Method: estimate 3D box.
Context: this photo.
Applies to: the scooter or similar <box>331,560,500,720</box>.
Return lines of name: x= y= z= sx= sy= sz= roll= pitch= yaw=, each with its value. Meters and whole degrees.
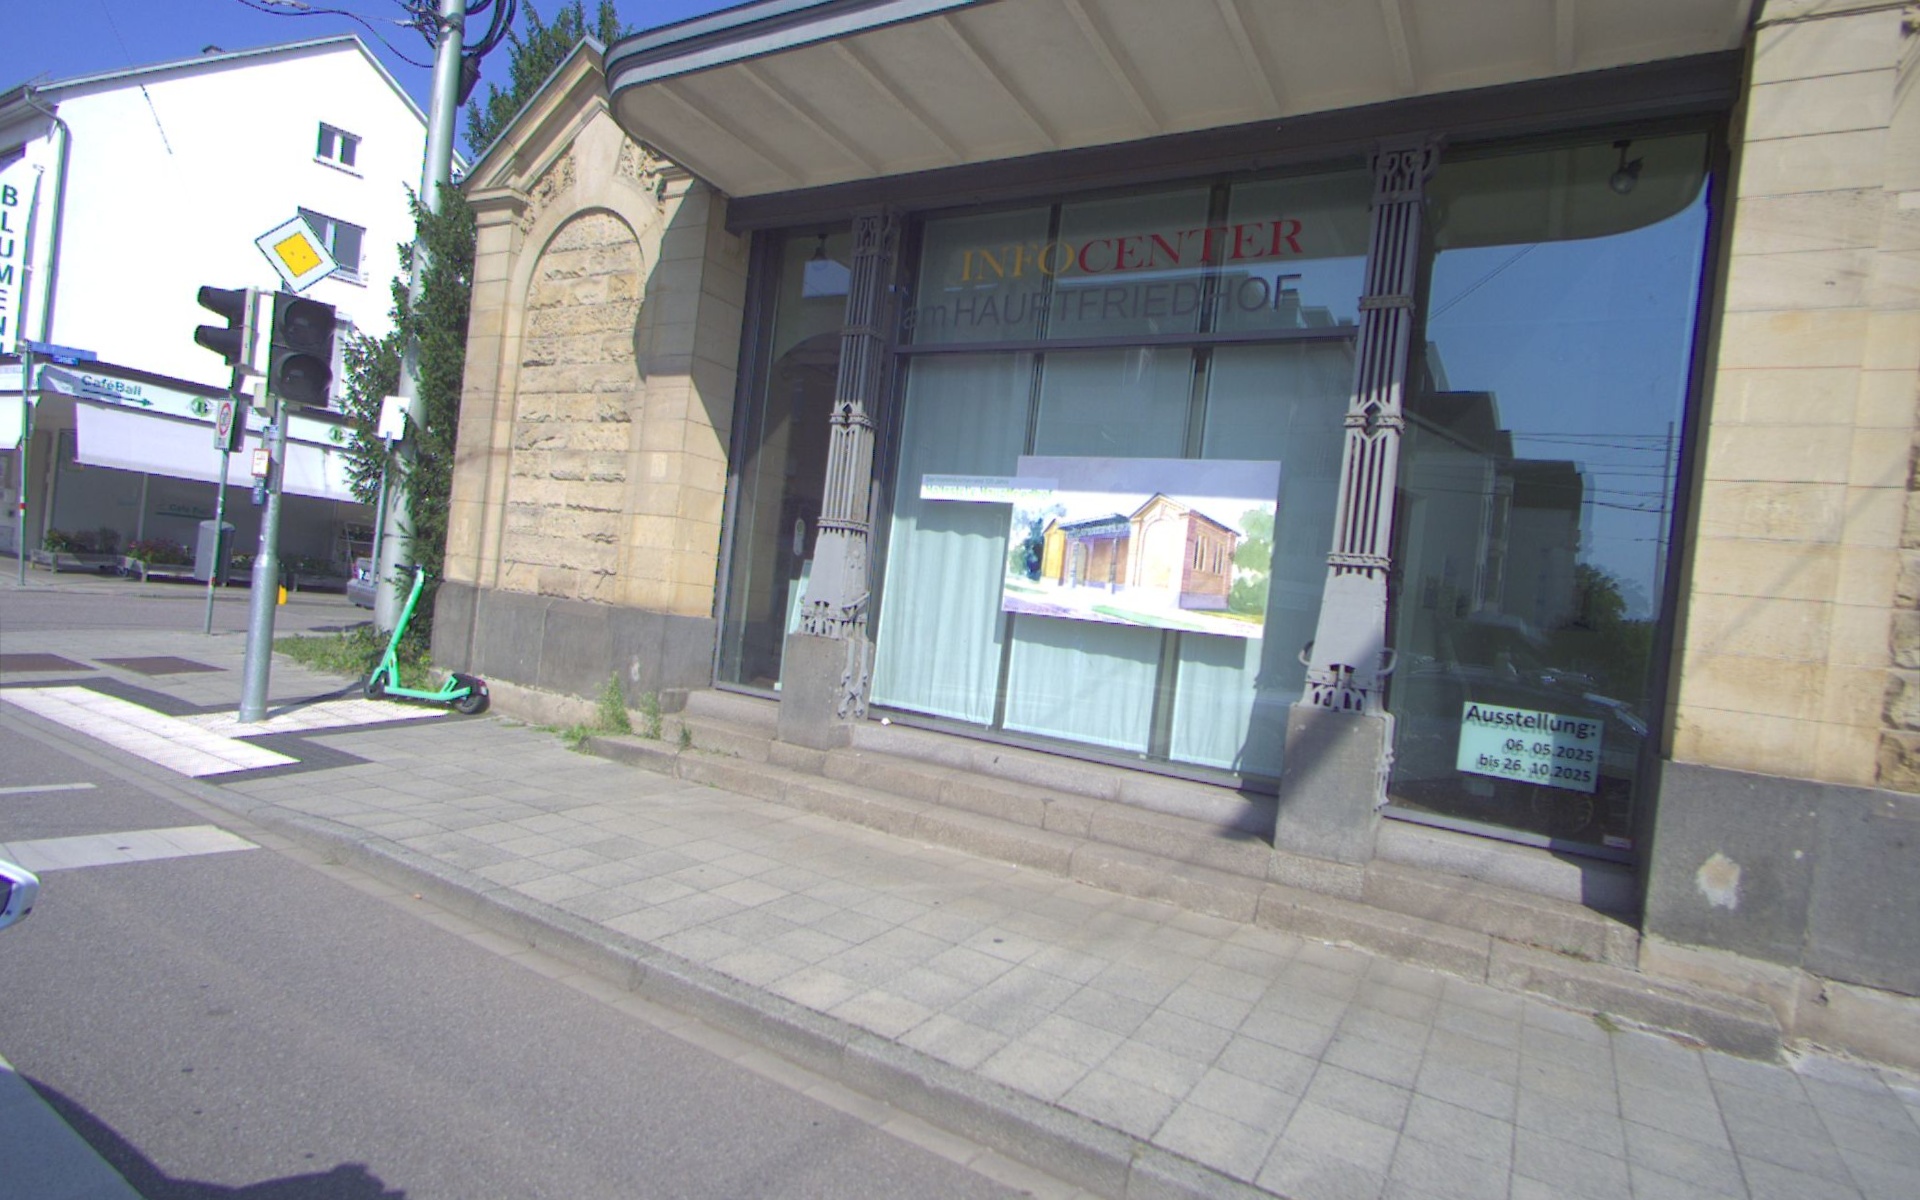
scooter or similar: x=-4.593 y=0.304 z=8.457 sx=1.486 sy=1.148 sz=0.523 roll=6 pitch=2 yaw=32

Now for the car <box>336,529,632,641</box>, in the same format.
car: x=-7.751 y=-0.173 z=16.788 sx=1.634 sy=1.428 sz=4.182 roll=8 pitch=1 yaw=31
